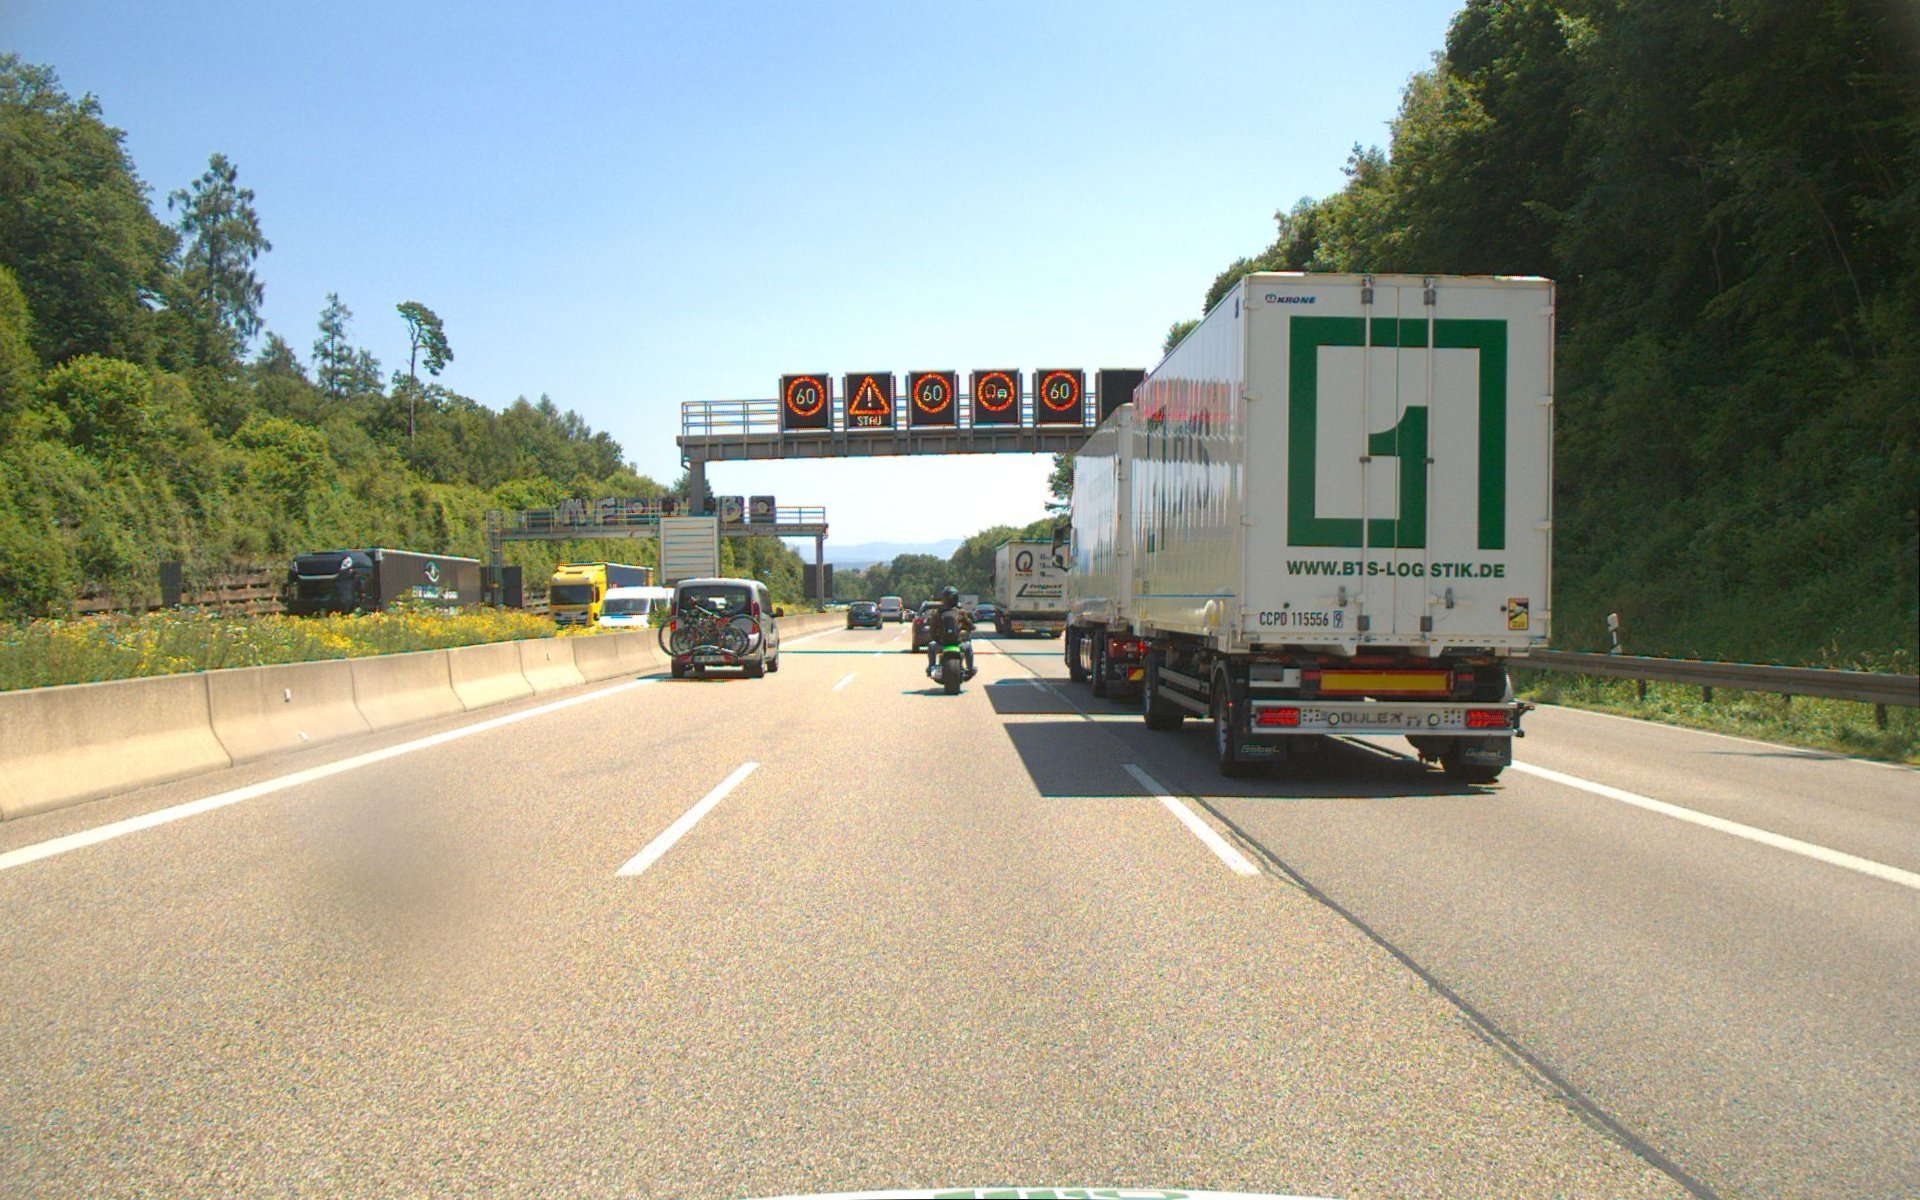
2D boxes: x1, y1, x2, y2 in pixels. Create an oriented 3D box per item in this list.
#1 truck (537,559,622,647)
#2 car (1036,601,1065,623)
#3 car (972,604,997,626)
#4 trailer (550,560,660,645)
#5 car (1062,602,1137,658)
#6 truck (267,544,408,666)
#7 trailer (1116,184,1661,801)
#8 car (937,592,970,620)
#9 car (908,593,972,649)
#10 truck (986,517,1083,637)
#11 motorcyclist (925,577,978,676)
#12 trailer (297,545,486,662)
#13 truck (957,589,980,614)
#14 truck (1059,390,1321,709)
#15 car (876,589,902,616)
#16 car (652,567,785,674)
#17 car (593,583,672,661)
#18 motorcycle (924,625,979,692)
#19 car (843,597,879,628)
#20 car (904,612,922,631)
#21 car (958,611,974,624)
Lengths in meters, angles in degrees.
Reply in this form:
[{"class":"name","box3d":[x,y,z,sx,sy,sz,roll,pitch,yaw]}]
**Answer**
[{"class":"truck","box3d":[-19.741,0.129,86.164,2.891,4.275,6.456,-3,0,-1]},{"class":"car","box3d":[6.534,0.874,120.288,1.794,1.553,4.026,0,0,-1]},{"class":"car","box3d":[1.833,1.120,124.432,1.794,1.553,4.026,0,0,-1]},{"class":"trailer","box3d":[-19.732,0.129,93.028,2.917,4.280,14.464,-3,0,0]},{"class":"car","box3d":[4.130,0.862,49.577,1.808,1.584,4.391,0,0,-1]},{"class":"truck","box3d":[-22.695,0.165,60.615,2.875,4.130,5.867,-3,0,-1]},{"class":"trailer","box3d":[3.447,-0.737,16.459,2.625,4.249,10.063,0,0,-1]},{"class":"car","box3d":[-0.387,0.342,95.452,1.794,1.586,4.119,0,0,-1]},{"class":"car","box3d":[-0.612,0.594,49.311,1.808,1.584,4.438,0,0,-1]},{"class":"truck","box3d":[3.198,-0.939,76.337,3.314,4.800,17.705,1,0,-1]},{"class":"motorcyclist","box3d":[-0.135,0.415,26.337,0.838,1.541,0.913,0,-1,0]},{"class":"trailer","box3d":[-22.822,0.132,67.532,2.918,4.172,13.991,-3,0,-1]},{"class":"truck","box3d":[1.132,0.182,232.300,3.005,3.405,9.650,1,0,-1]},{"class":"truck","box3d":[3.307,-0.653,26.822,2.625,4.130,10.623,0,0,-1]},{"class":"car","box3d":[-5.157,0.166,120.079,1.794,1.842,4.119,0,0,-1]},{"class":"car","box3d":[-4.564,0.393,31.983,1.860,1.880,5.481,0,-1,-1]},{"class":"car","box3d":[-12.025,0.765,61.003,1.958,2.720,4.845,-2,0,-1]},{"class":"motorcycle","box3d":[-0.132,0.908,26.284,0.844,0.999,2.130,0,-1,0]},{"class":"car","box3d":[-5.206,0.631,87.733,1.722,1.571,4.394,0,0,-1]},{"class":"car","box3d":[-4.576,2.089,161.315,1.794,1.842,4.119,0,0,-1]},{"class":"car","box3d":[0.748,2.157,207.001,1.794,1.553,4.026,0,0,-1]}]
